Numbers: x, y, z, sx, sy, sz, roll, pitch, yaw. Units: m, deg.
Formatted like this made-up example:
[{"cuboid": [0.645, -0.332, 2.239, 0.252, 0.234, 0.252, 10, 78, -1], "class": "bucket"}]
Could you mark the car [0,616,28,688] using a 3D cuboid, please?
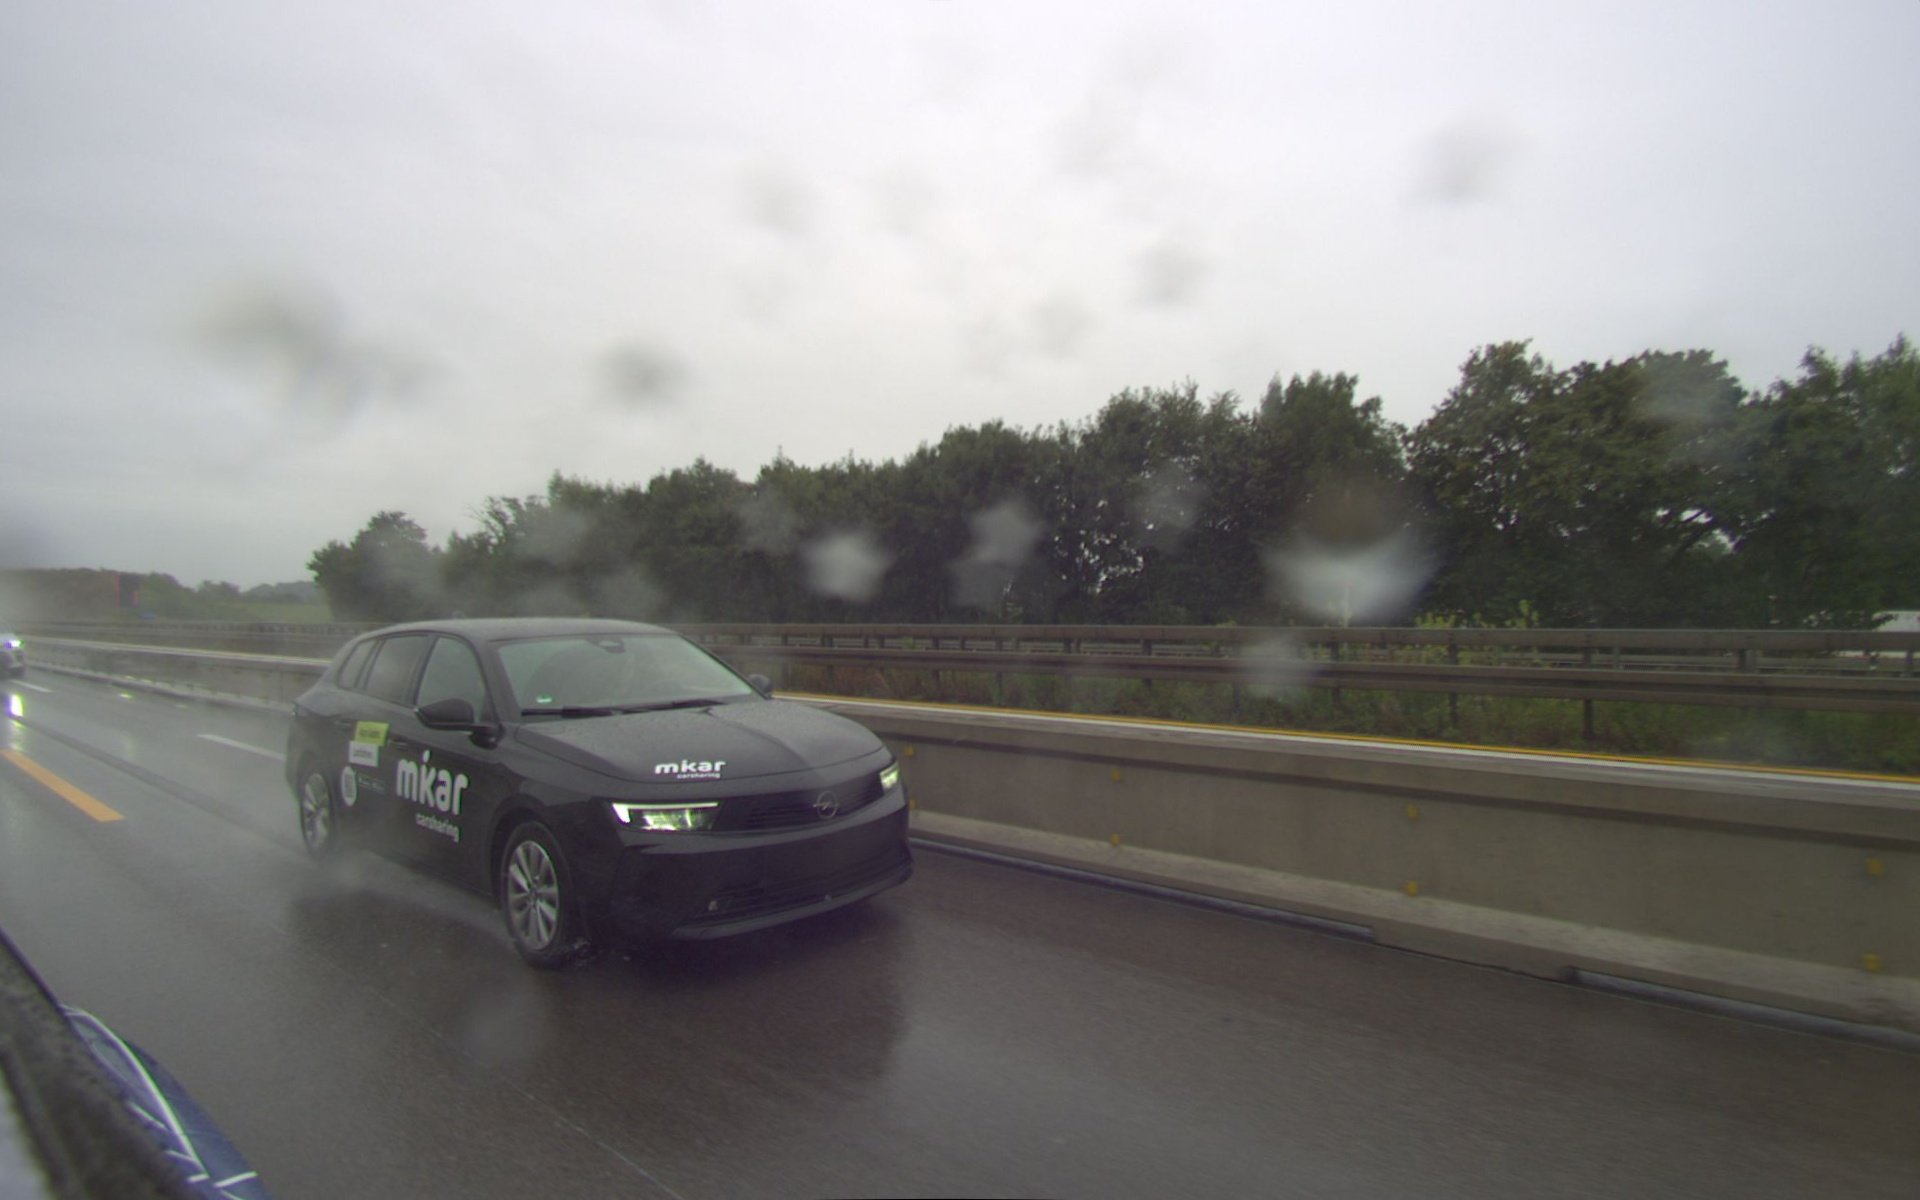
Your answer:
[{"cuboid": [-25.435, 1.293, 25.725, 3.995, 1.693, 1.948, 0, 0, 38], "class": "car"}]

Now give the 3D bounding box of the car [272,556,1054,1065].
[{"cuboid": [-1.968, 0.652, 5.434, 4.797, 1.539, 1.917, 0, -1, 44], "class": "car"}]
